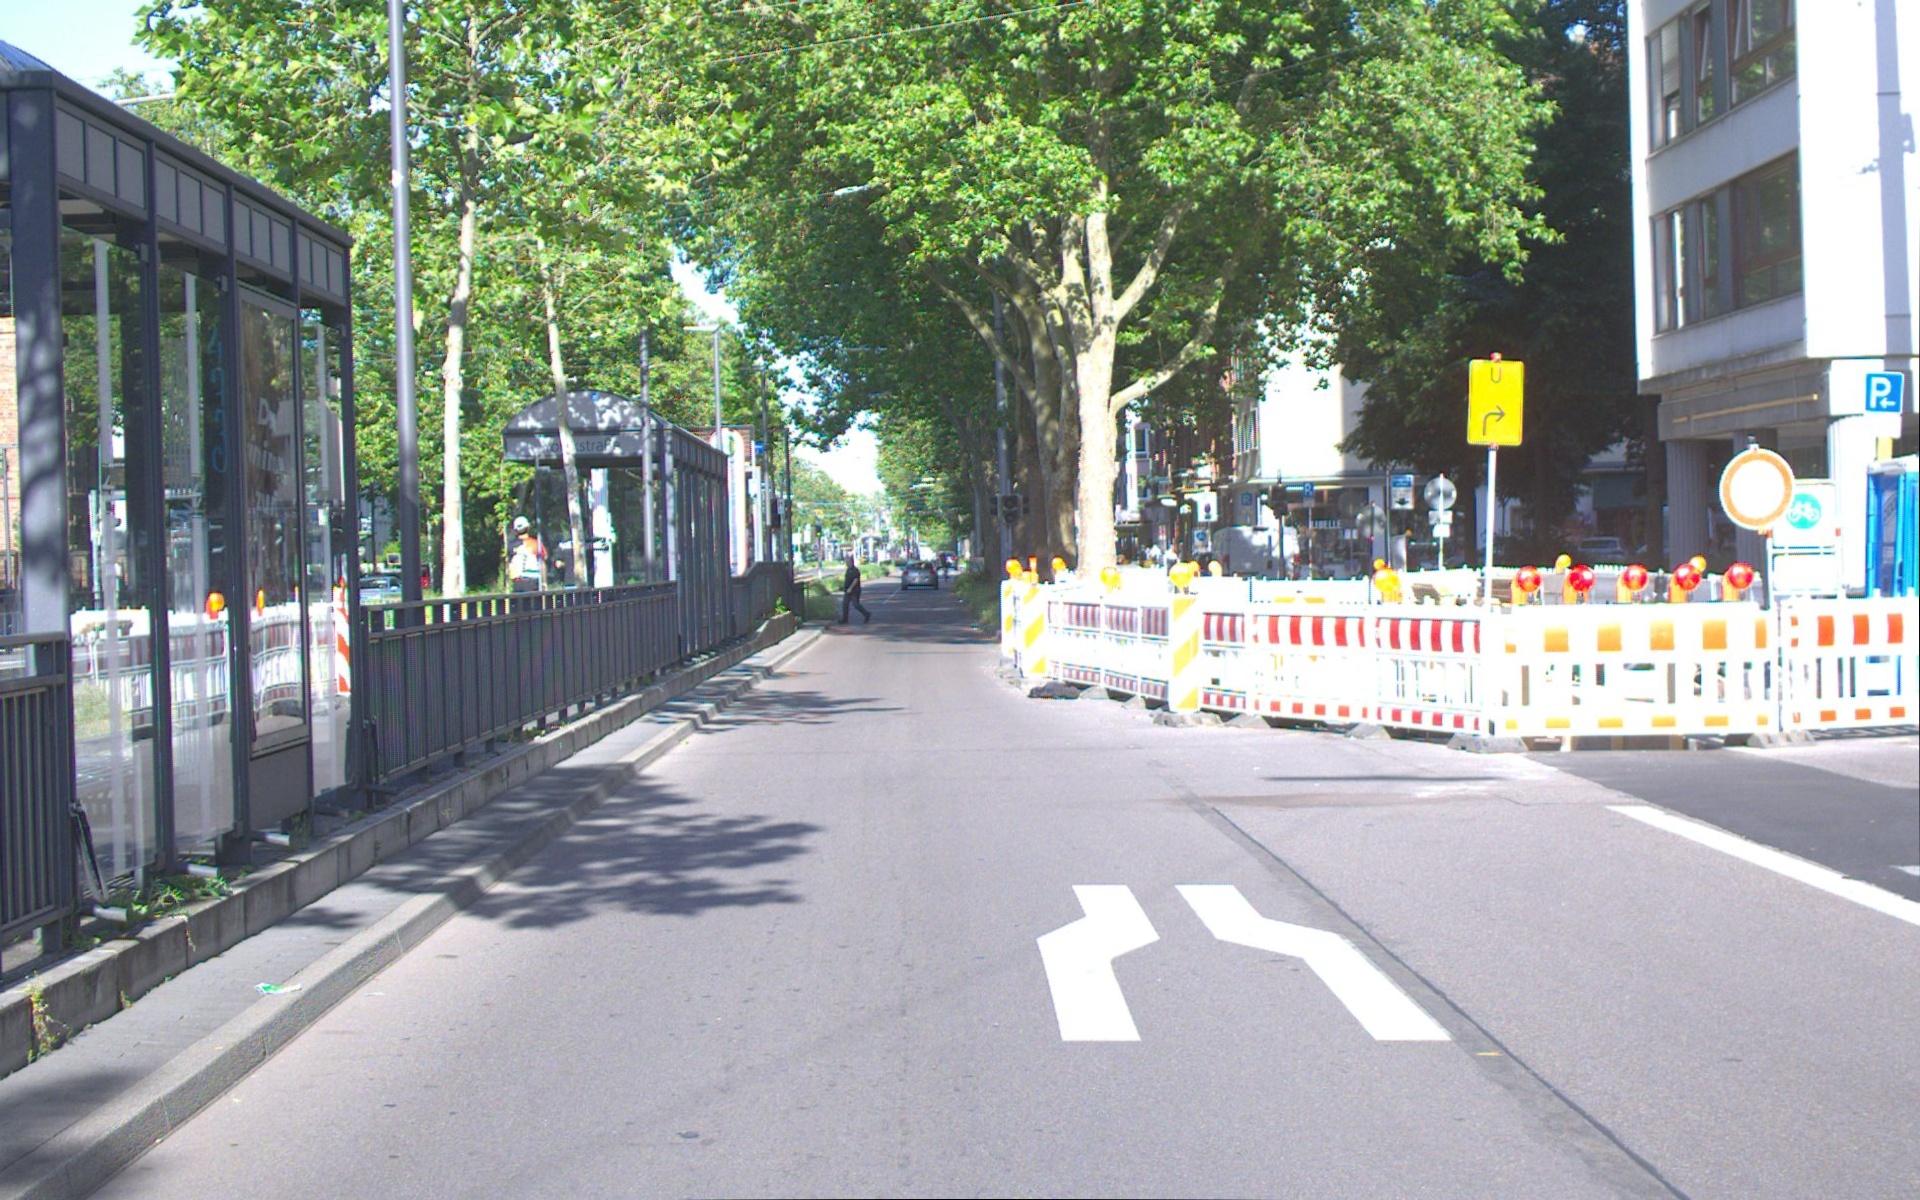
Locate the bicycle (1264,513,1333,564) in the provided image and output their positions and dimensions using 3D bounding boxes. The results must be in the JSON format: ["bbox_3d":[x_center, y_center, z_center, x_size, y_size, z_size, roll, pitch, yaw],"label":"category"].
[{"bbox_3d":[8.711,-1.573,88.473,1.603,1.259,0.963,-1,1,-5],"label":"bicycle"}]

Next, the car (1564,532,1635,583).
[{"bbox_3d":[21.134,-1.419,113.484,1.995,1.622,4.387,-1,1,14],"label":"car"}]

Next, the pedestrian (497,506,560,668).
[{"bbox_3d":[-5.421,-0.164,43.223,0.667,2.007,0.716,-1,1,1],"label":"pedestrian"}]

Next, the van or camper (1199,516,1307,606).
[{"bbox_3d":[7.811,-1.046,92.259,2.291,2.279,5.823,-1,1,-1],"label":"van or camper"}]

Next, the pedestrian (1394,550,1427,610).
[{"bbox_3d":[12.297,-0.560,93.844,0.732,1.611,1.035,-1,1,0],"label":"pedestrian"}]

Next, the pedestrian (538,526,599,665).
[{"bbox_3d":[-5.074,-0.065,44.586,0.682,1.778,0.754,-1,1,1],"label":"pedestrian"}]

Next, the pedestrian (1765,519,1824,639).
[{"bbox_3d":[12.831,-0.323,52.868,0.690,1.809,0.666,-2,1,-1],"label":"pedestrian"}]

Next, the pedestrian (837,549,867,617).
[{"bbox_3d":[-2.682,-0.426,85.439,0.712,1.674,0.772,-1,1,-2],"label":"pedestrian"}]

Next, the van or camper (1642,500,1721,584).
[{"bbox_3d":[23.739,-1.913,112.981,2.148,2.627,5.584,-1,1,15],"label":"van or camper"}]

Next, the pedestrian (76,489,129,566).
[{"bbox_3d":[-19.574,-1.658,78.488,0.953,1.730,0.730,-1,1,2],"label":"pedestrian"}]

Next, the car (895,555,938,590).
[{"bbox_3d":[-2.128,-1.361,167.491,2.021,1.656,4.000,-1,1,-1],"label":"car"}]
